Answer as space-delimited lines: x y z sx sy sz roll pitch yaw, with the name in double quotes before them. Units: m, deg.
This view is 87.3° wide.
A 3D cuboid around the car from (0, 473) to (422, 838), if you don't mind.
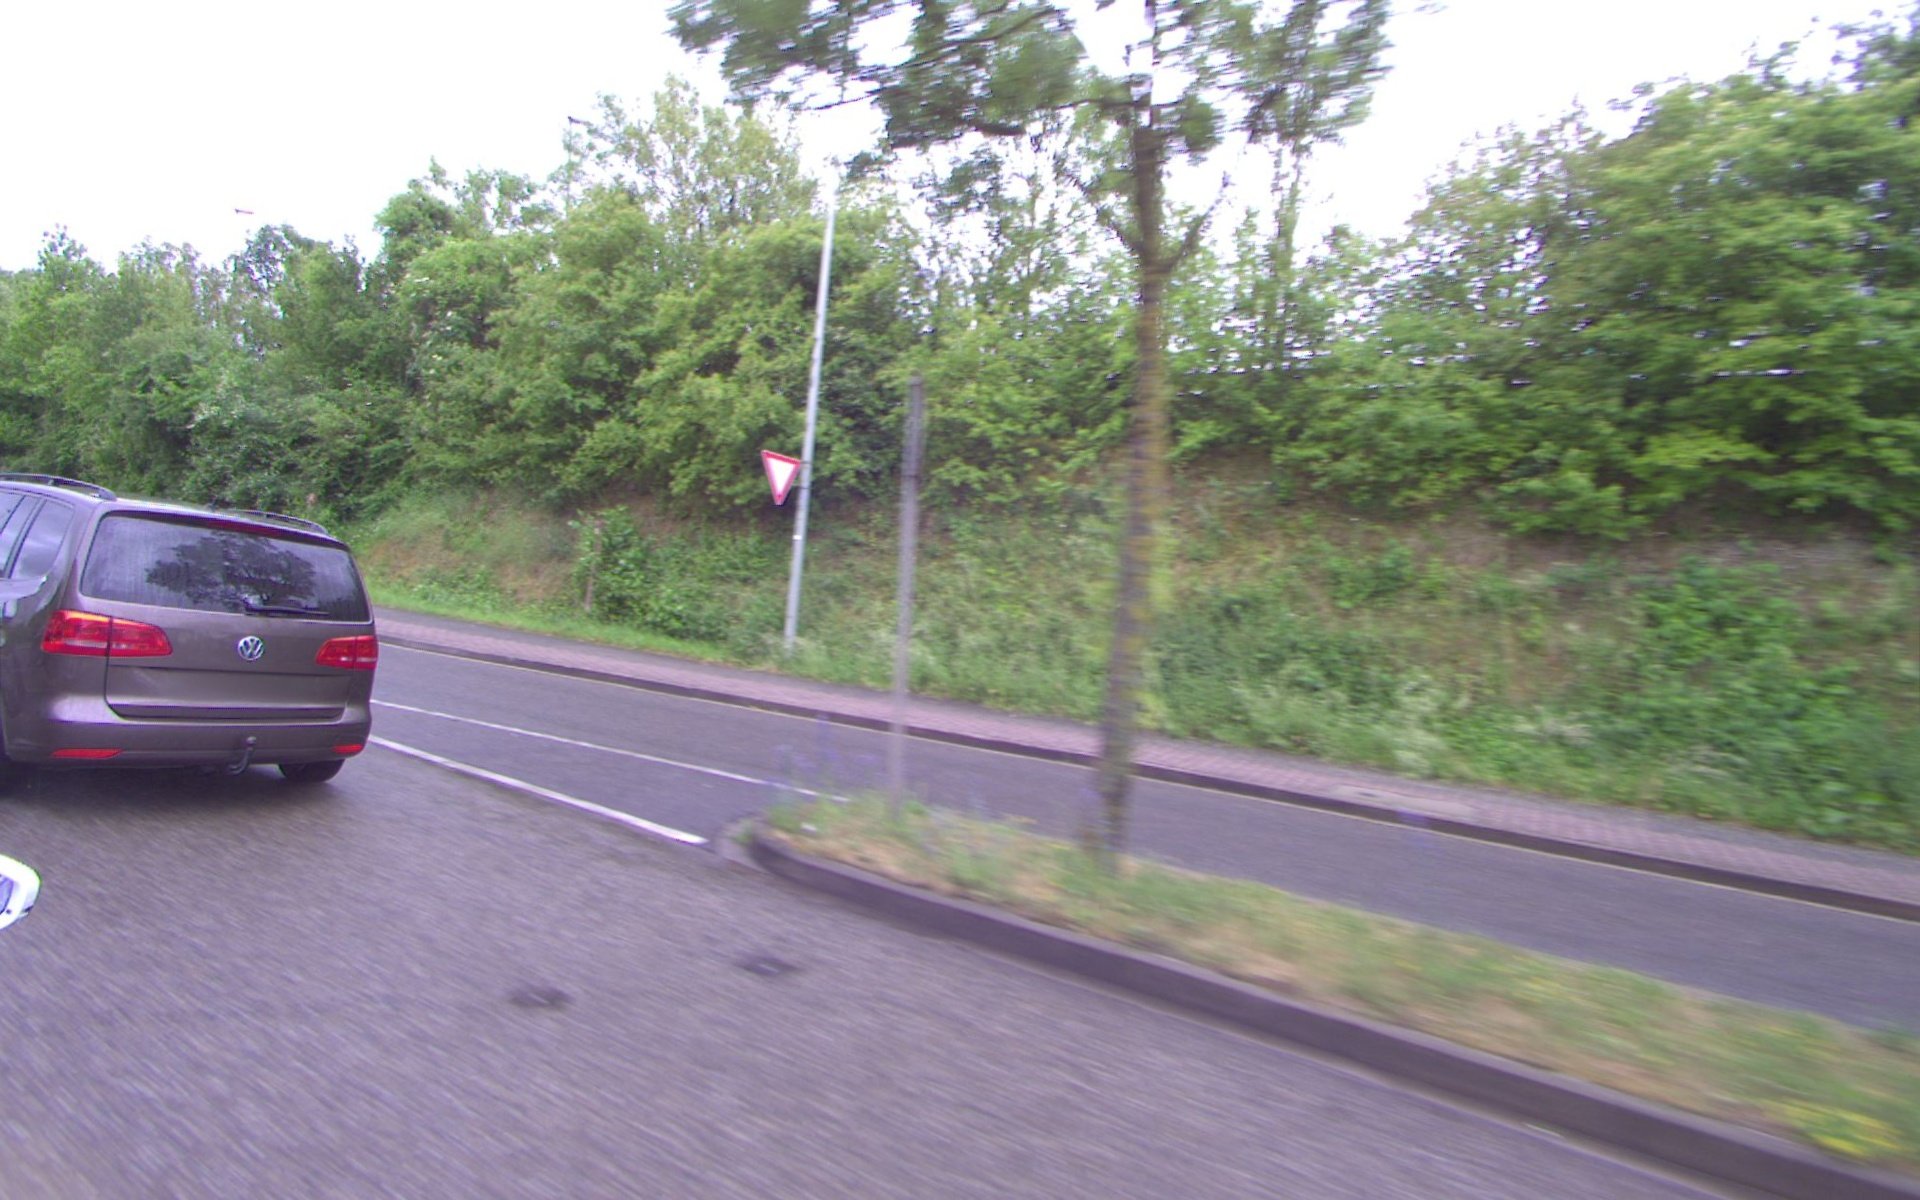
"car" -5.438 0.143 6.261 4.061 1.615 1.717 6 -1 31
